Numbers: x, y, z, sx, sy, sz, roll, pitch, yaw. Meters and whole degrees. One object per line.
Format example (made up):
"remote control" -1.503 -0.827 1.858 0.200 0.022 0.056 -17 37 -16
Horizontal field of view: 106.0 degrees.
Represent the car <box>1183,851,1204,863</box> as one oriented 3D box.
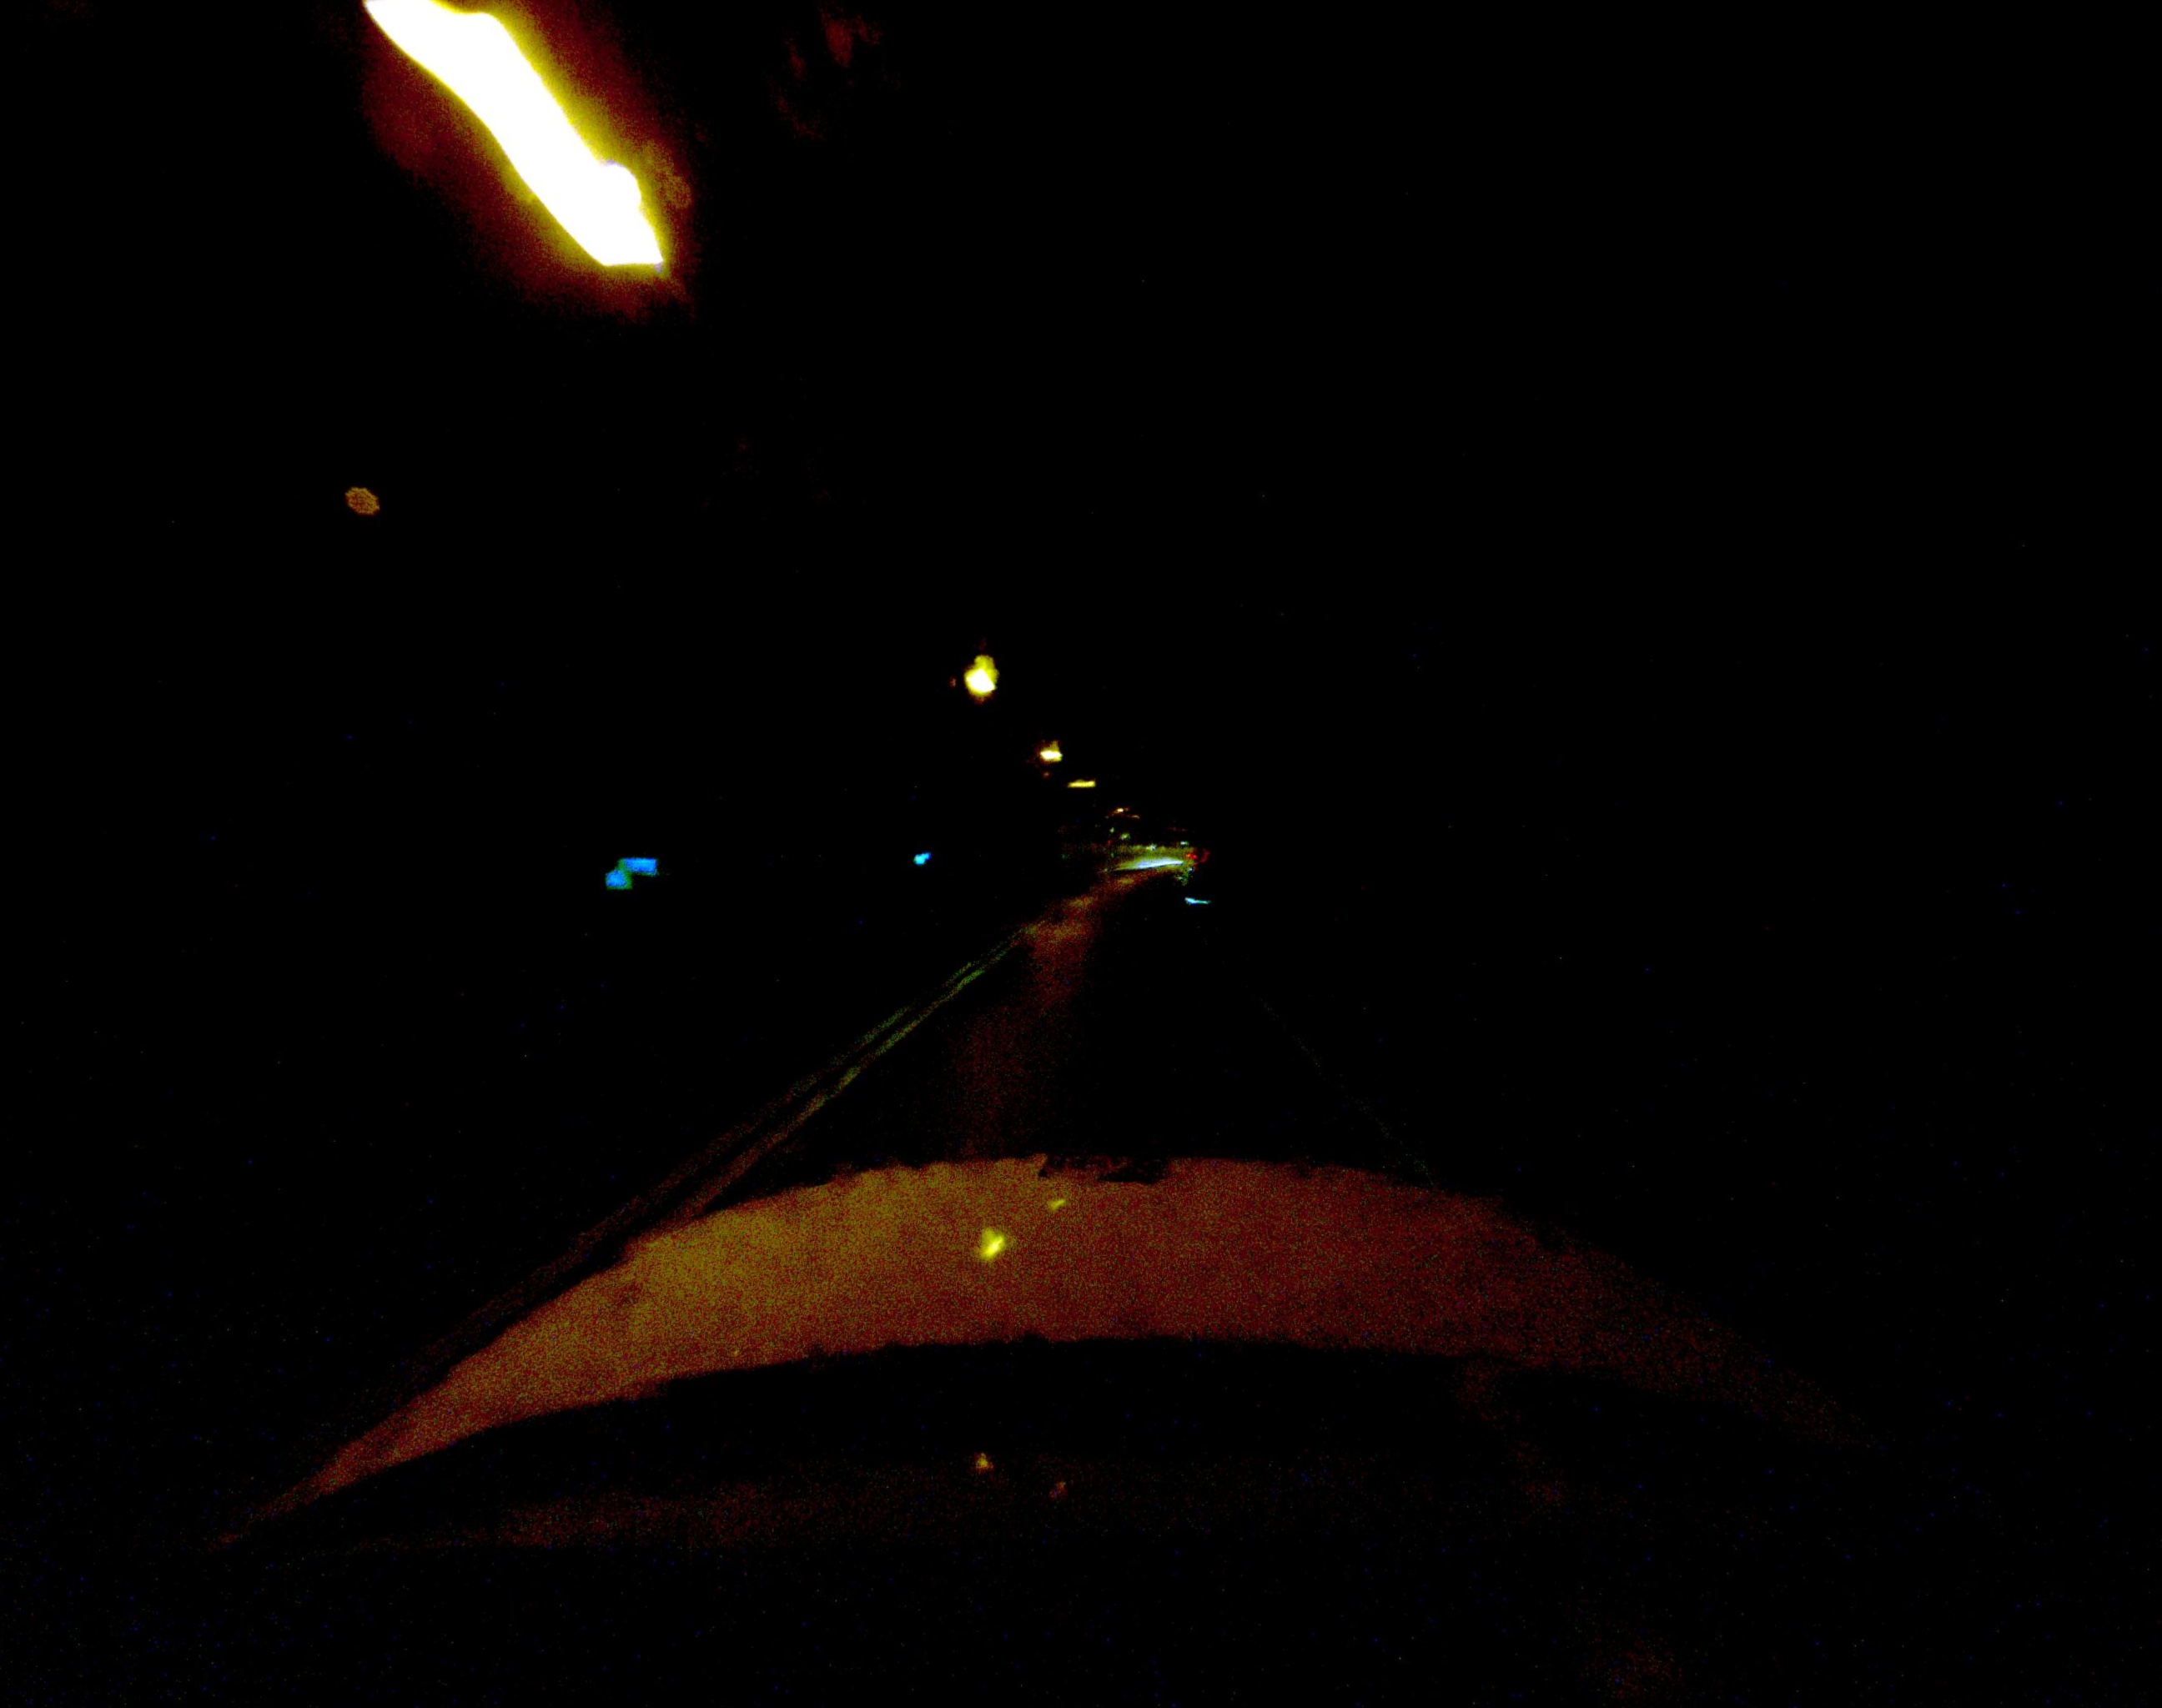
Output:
"car" 16.191 0.429 117.230 1.976 1.650 4.022 -1 0 23
